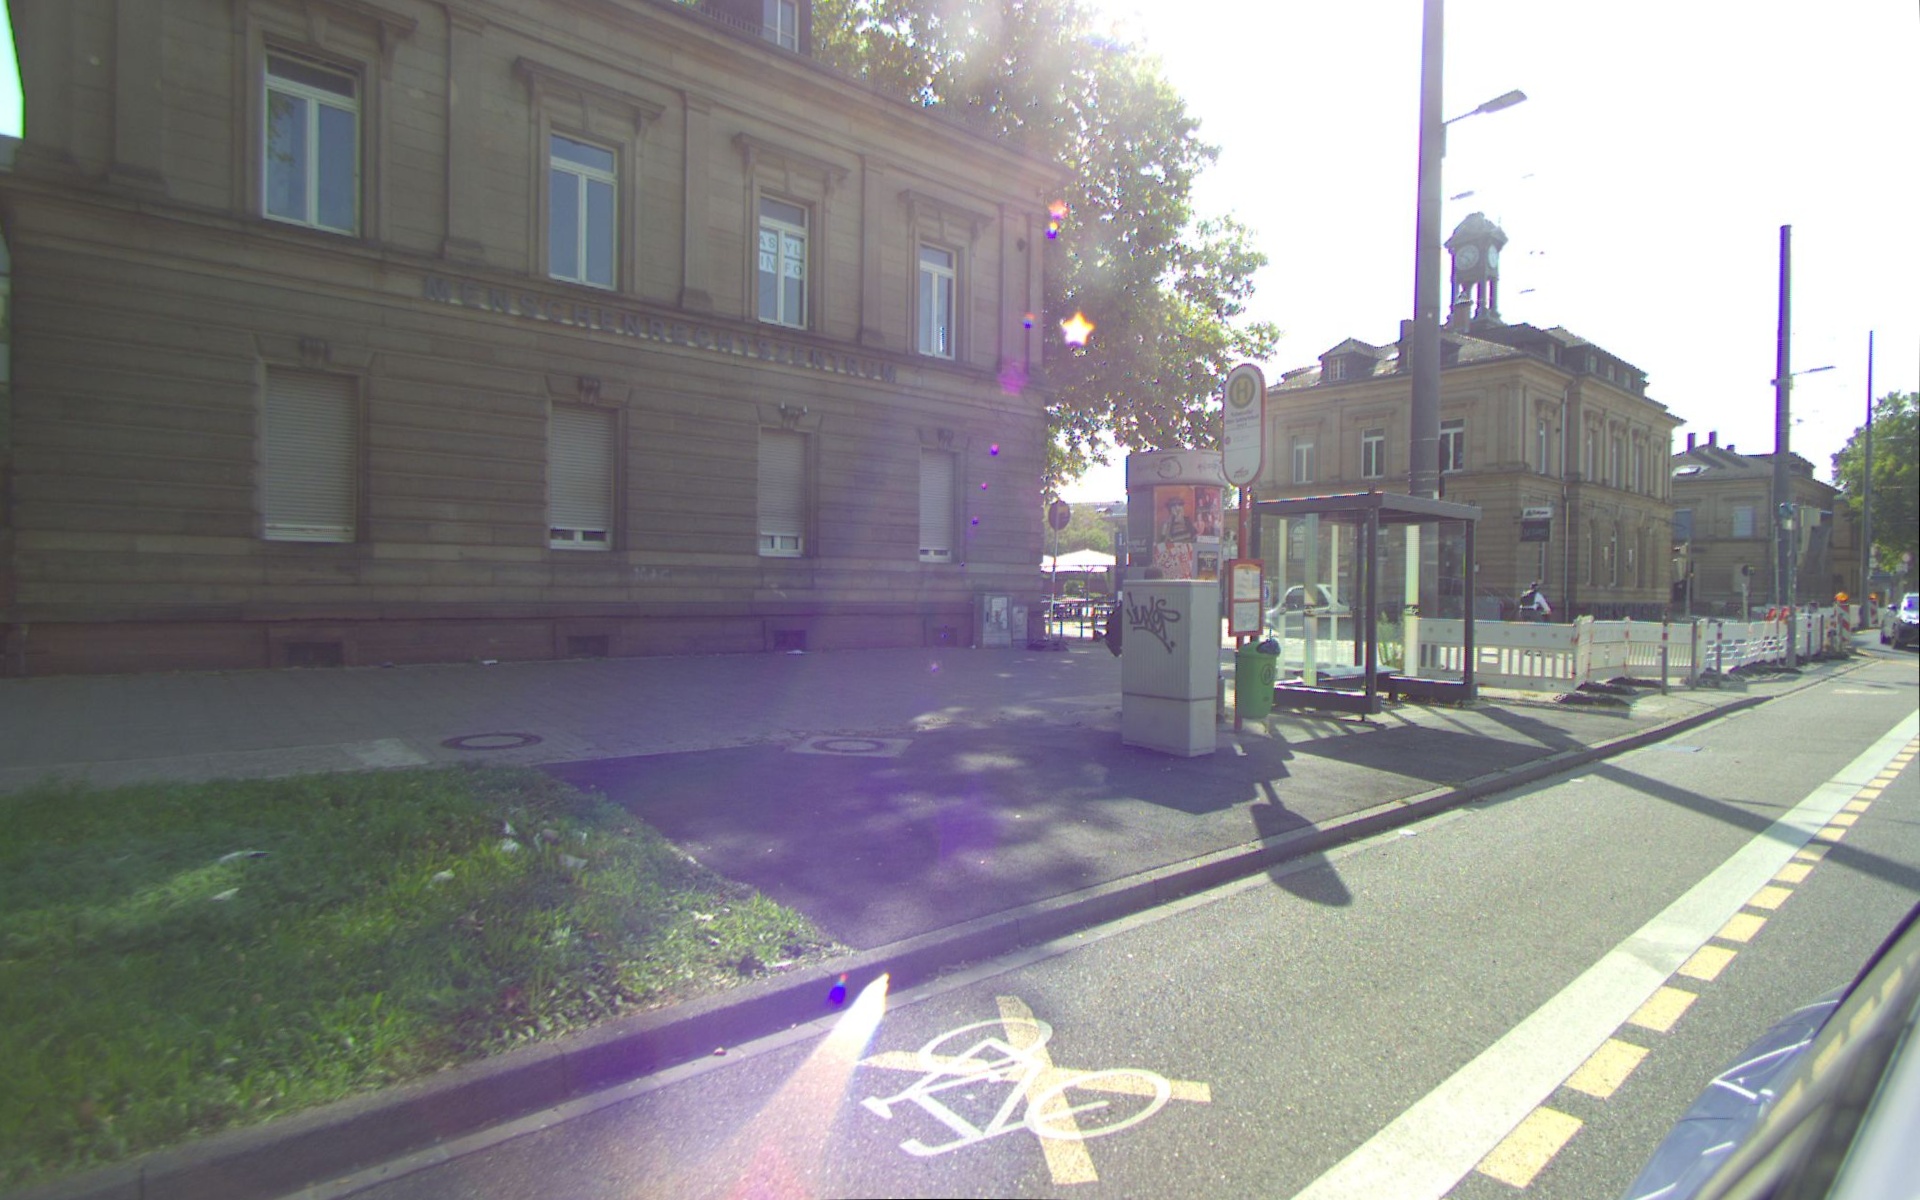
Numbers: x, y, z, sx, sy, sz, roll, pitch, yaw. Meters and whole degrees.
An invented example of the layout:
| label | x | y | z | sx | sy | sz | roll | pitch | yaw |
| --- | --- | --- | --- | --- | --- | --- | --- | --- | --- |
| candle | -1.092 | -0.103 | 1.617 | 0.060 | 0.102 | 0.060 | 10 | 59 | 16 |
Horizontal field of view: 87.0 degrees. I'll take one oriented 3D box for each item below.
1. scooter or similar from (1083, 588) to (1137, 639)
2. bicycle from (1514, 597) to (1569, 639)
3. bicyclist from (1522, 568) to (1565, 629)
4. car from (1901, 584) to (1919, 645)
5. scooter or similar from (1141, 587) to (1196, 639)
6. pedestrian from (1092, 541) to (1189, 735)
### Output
| label | x | y | z | sx | sy | sz | roll | pitch | yaw |
| --- | --- | --- | --- | --- | --- | --- | --- | --- | --- |
| scooter or similar | 3.834 | 0.337 | 25.901 | 1.242 | 1.225 | 0.419 | 3 | 0 | 25 |
| bicycle | 15.279 | 0.456 | 26.559 | 1.871 | 1.055 | 0.718 | 1 | 1 | -43 |
| bicyclist | 15.334 | -0.043 | 26.598 | 0.939 | 1.562 | 0.718 | 1 | 1 | -43 |
| car | 29.371 | 0.443 | 30.028 | 1.994 | 1.717 | 5.141 | 2 | 1 | 44 |
| scooter or similar | 5.154 | 0.317 | 25.062 | 1.228 | 1.225 | 0.423 | 3 | 0 | -18 |
| pedestrian | 1.682 | 0.327 | 9.400 | 0.684 | 1.718 | 0.642 | 2 | 1 | 29 |
